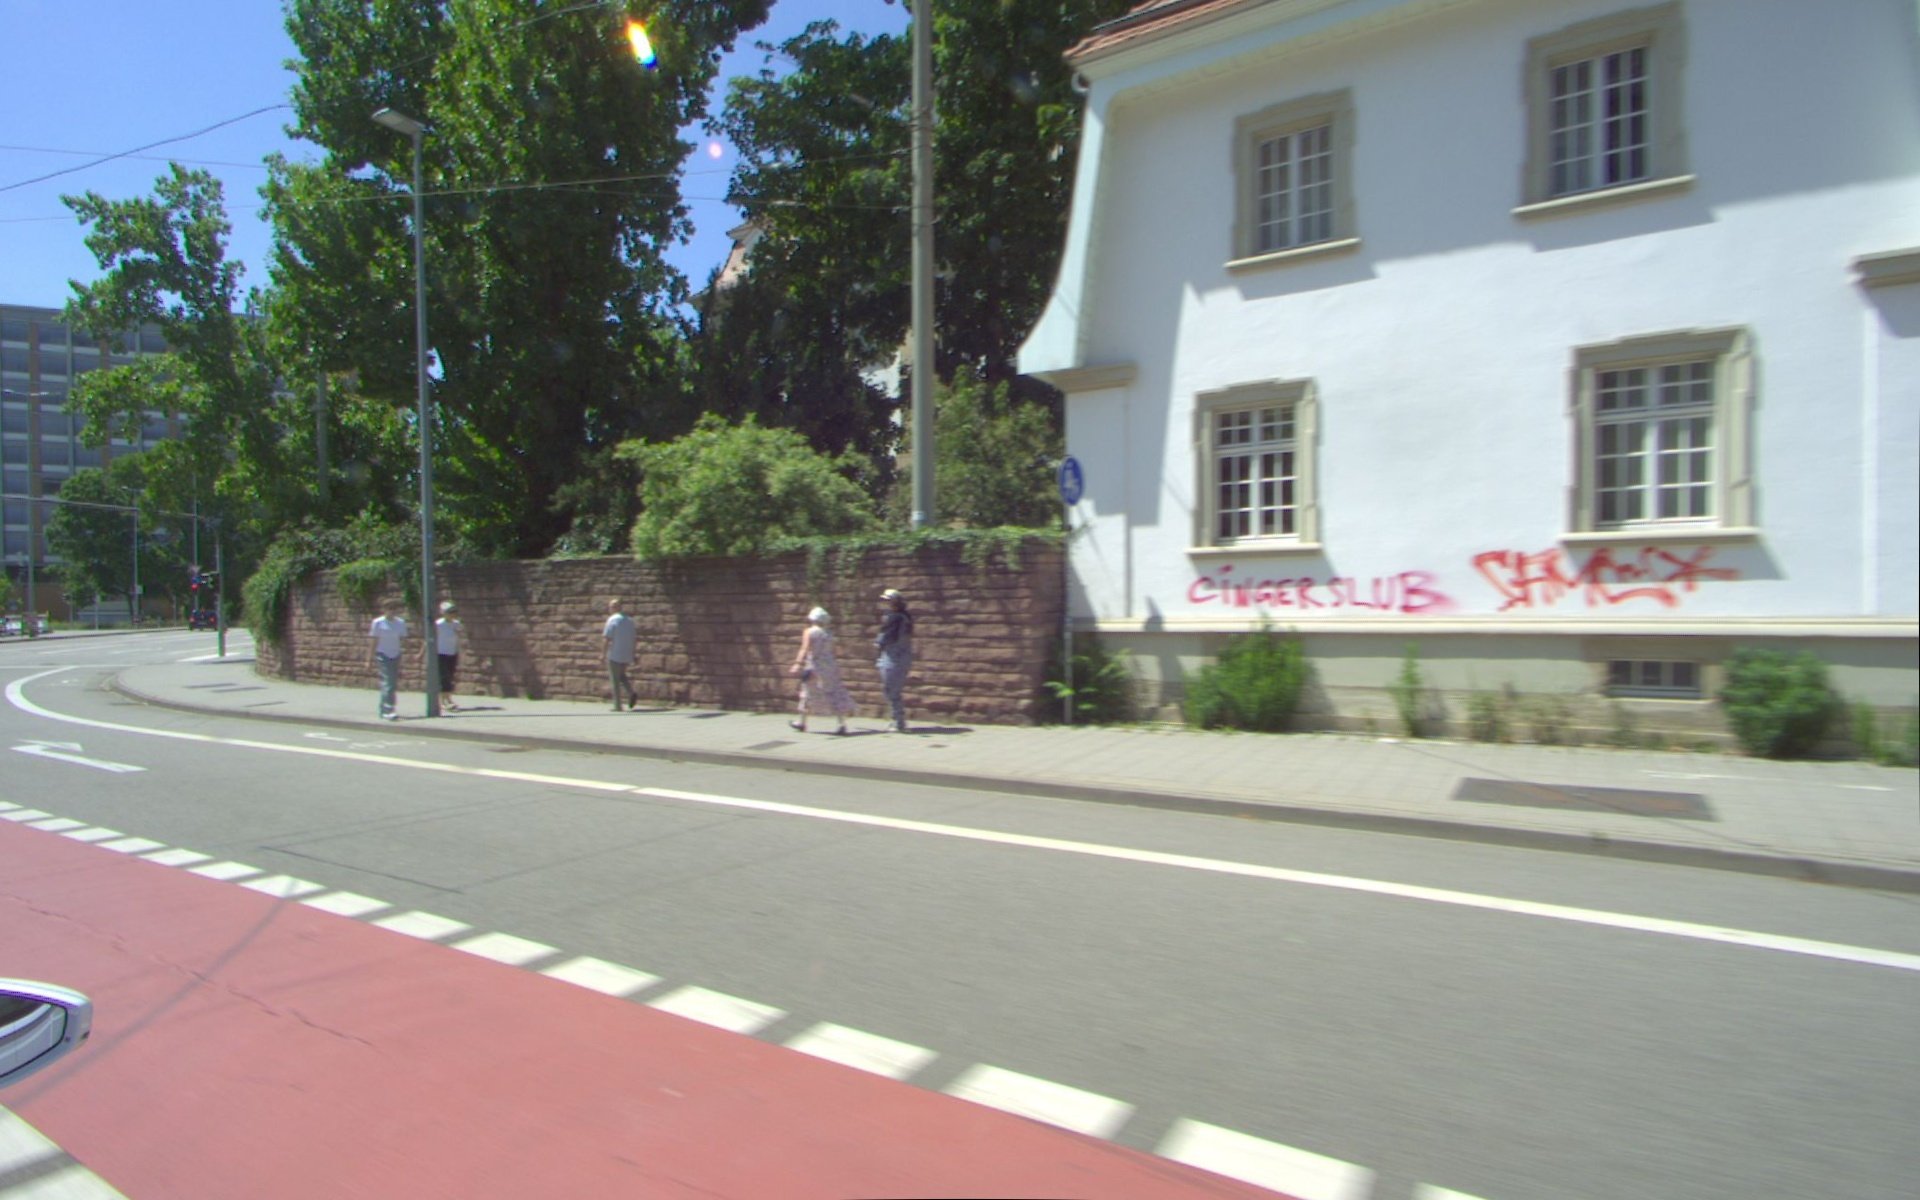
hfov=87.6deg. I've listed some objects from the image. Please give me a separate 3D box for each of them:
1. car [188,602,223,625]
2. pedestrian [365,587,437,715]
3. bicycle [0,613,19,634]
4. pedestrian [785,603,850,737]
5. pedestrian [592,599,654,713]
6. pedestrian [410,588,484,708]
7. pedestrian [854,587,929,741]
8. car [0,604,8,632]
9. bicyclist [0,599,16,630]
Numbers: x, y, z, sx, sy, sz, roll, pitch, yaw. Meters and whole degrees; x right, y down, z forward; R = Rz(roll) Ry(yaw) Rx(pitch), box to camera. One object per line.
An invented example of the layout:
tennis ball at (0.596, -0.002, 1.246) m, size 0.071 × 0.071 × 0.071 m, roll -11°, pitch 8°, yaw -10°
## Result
car at (-53.254, 0.902, 70.761) m, size 1.671 × 1.547 × 3.666 m, roll 0°, pitch 1°, yaw -33°
pedestrian at (-8.281, 0.733, 14.832) m, size 0.738 × 1.832 × 0.675 m, roll 1°, pitch 1°, yaw 36°
bicycle at (-54.603, 1.350, 57.325) m, size 0.392 × 1.189 × 1.766 m, roll 0°, pitch 0°, yaw -20°
pedestrian at (-1.708, 0.810, 11.997) m, size 0.590 × 1.553 × 0.513 m, roll 1°, pitch 1°, yaw 37°
pedestrian at (-5.083, 0.817, 15.095) m, size 0.616 × 1.669 × 0.658 m, roll 1°, pitch 1°, yaw 37°
pedestrian at (-8.084, 0.729, 15.778) m, size 0.691 × 1.832 × 0.811 m, roll 1°, pitch 1°, yaw 36°
pedestrian at (-0.817, 0.752, 12.094) m, size 0.619 × 1.796 × 0.716 m, roll 0°, pitch 0°, yaw 27°
car at (-49.092, 0.918, 49.353) m, size 1.708 × 1.443 × 4.112 m, roll 0°, pitch 0°, yaw -21°
bicyclist at (-54.628, 0.817, 57.410) m, size 0.559 × 1.742 × 0.506 m, roll 0°, pitch 2°, yaw -17°
